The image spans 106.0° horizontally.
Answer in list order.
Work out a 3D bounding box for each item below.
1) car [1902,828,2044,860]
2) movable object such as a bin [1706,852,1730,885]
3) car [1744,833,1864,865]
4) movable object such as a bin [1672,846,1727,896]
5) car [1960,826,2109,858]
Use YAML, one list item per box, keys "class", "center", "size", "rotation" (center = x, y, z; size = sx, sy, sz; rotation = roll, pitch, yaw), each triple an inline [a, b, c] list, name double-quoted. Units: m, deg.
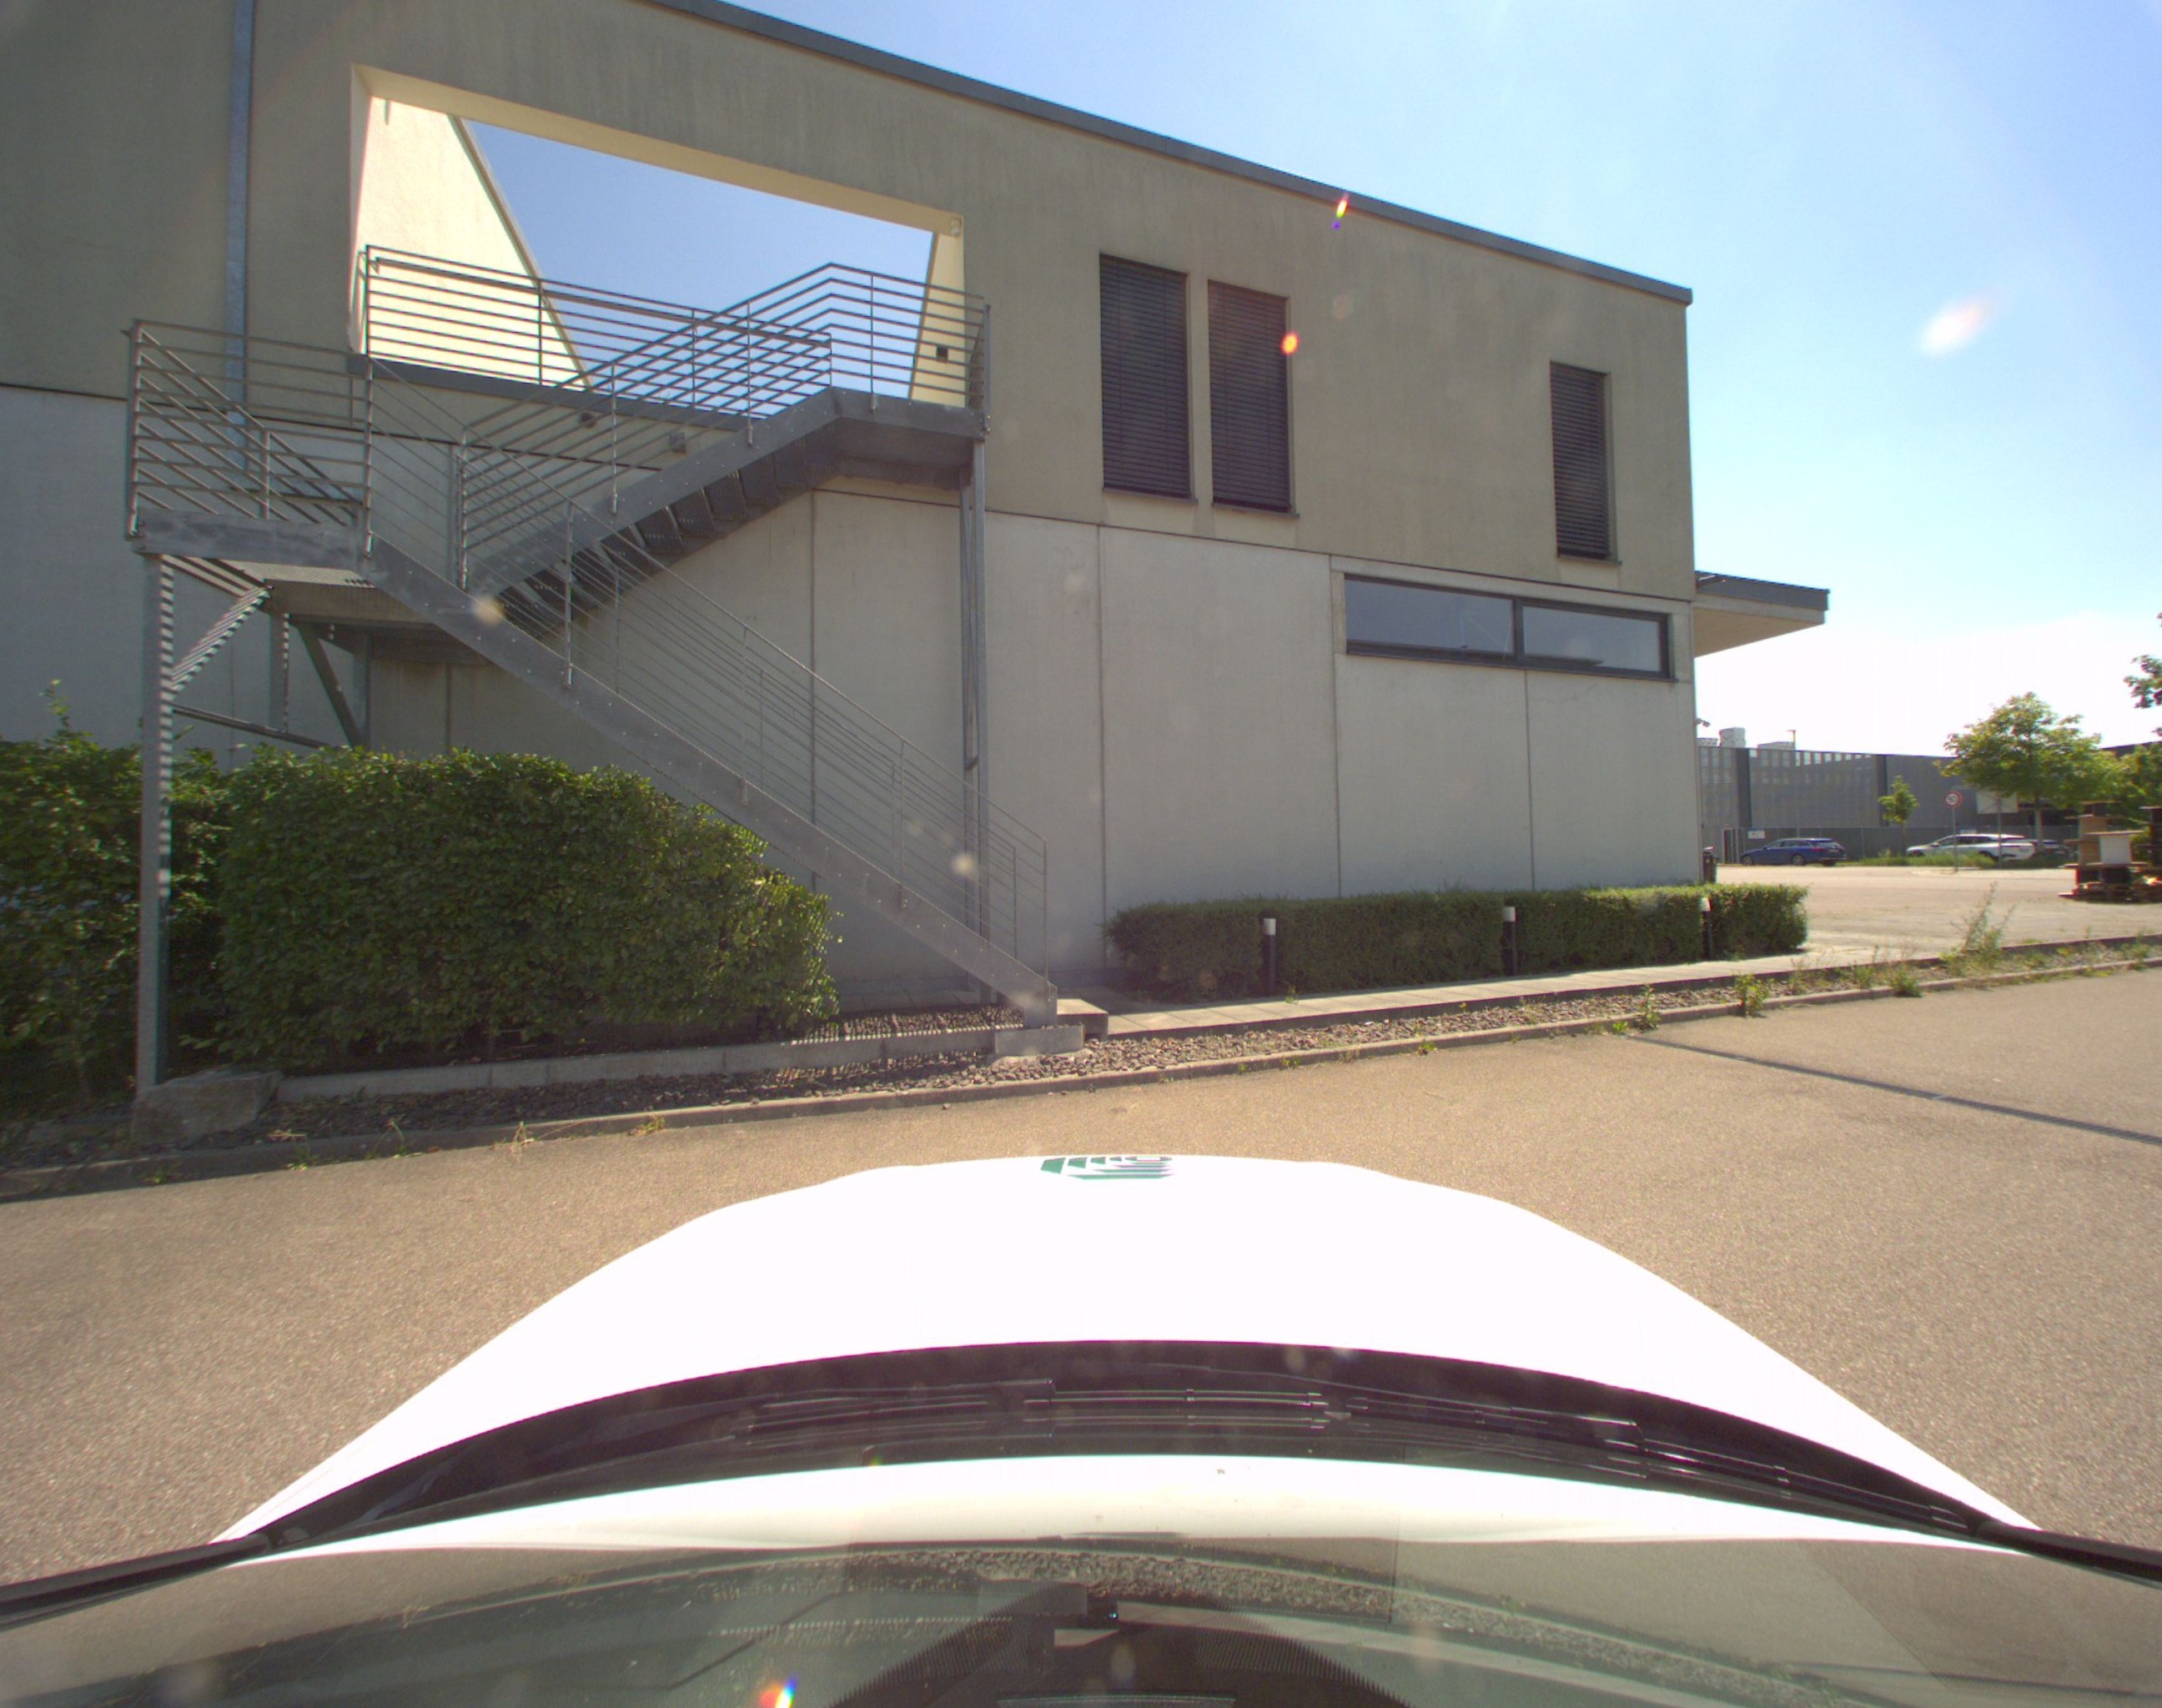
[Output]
- class: "car"
  center: [46.788, -0.492, 42.910]
  size: [1.989, 1.491, 4.848]
  rotation: [-2, 0, -4]
- class: "movable object such as a bin"
  center: [20.274, 0.454, 25.914]
  size: [0.571, 1.036, 0.428]
  rotation: [-2, -1, 39]
- class: "car"
  center: [36.954, -0.227, 41.810]
  size: [1.989, 1.491, 4.509]
  rotation: [-2, 0, -4]
- class: "movable object such as a bin"
  center: [16.991, 0.468, 22.393]
  size: [0.882, 1.345, 0.810]
  rotation: [-1, -1, -12]
- class: "car"
  center: [49.843, -0.593, 42.767]
  size: [1.989, 1.491, 4.848]
  rotation: [-2, 0, -4]
